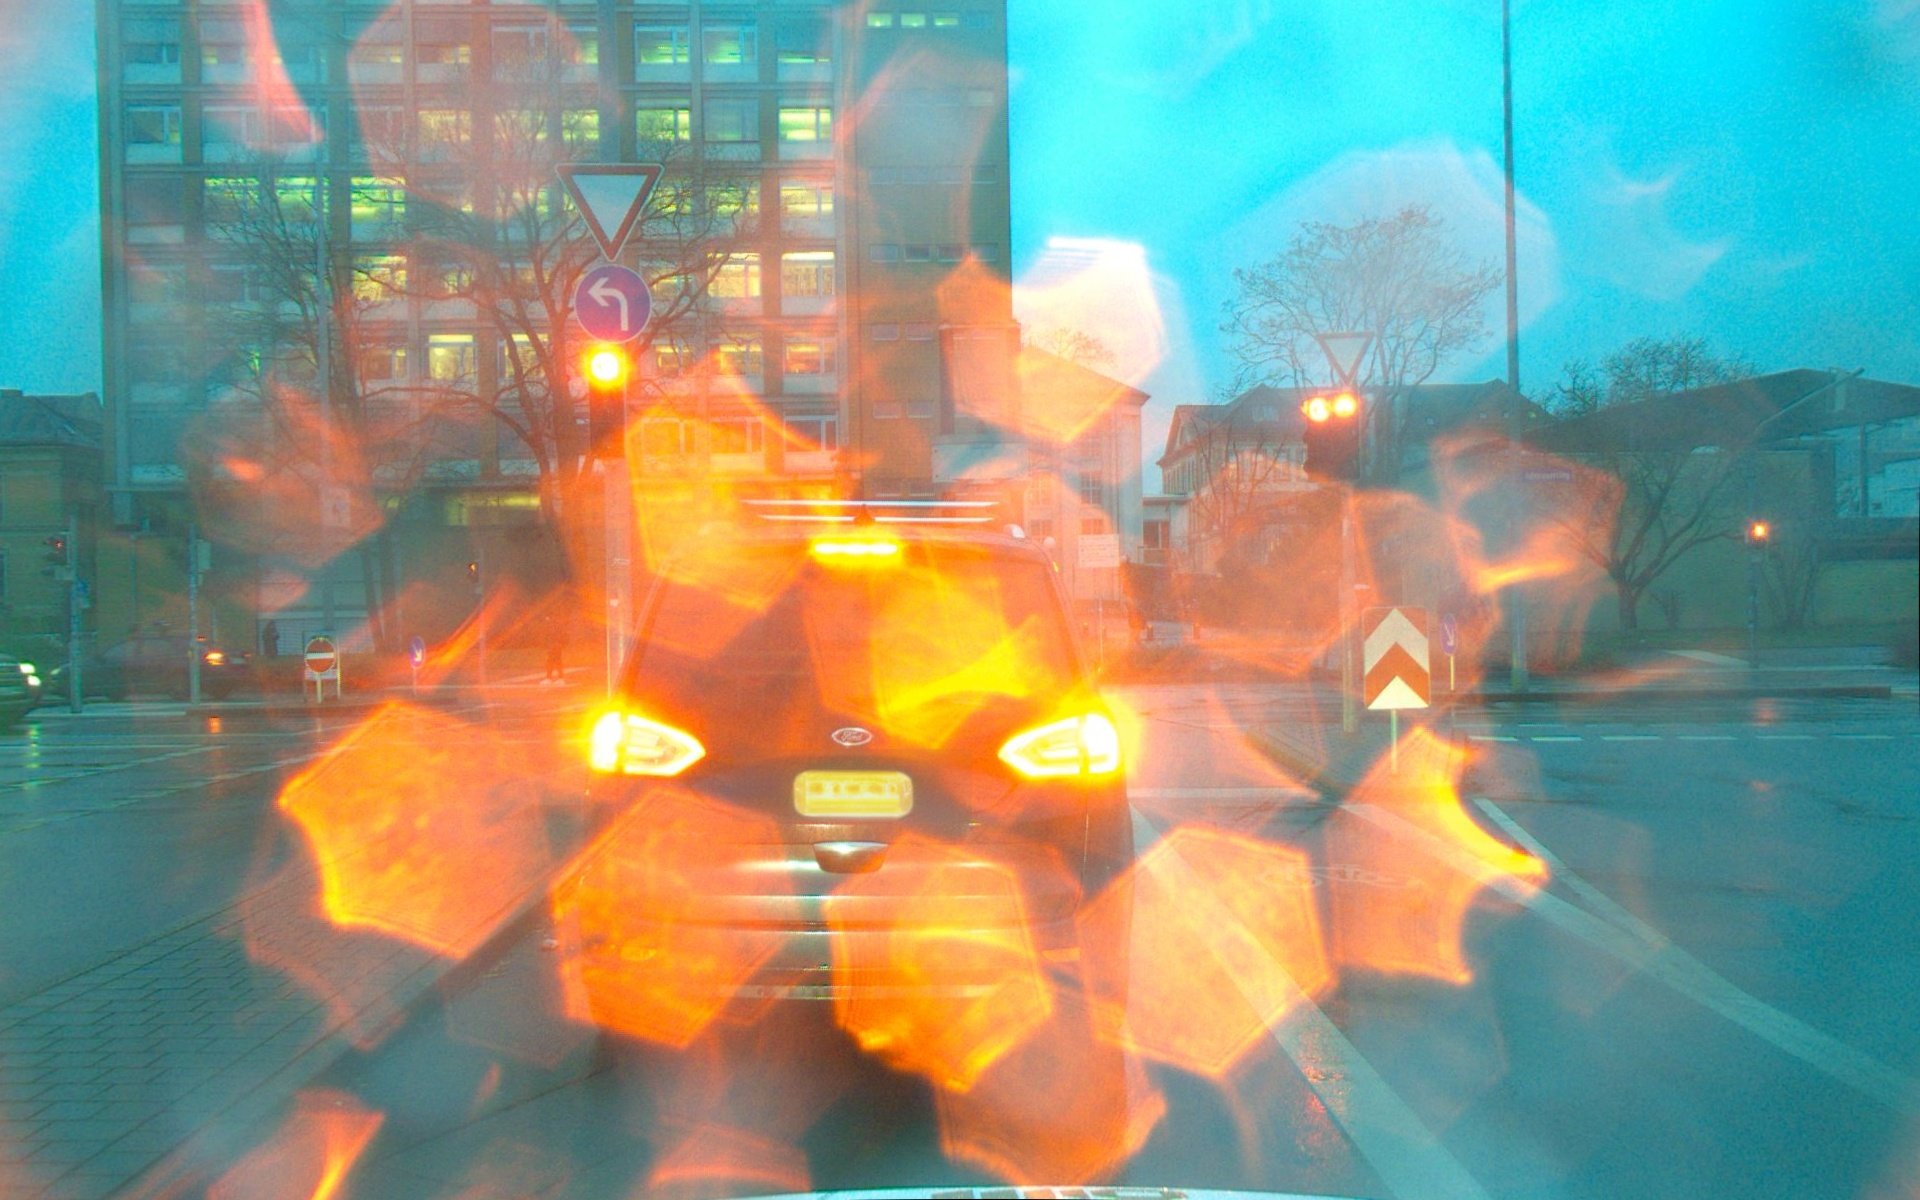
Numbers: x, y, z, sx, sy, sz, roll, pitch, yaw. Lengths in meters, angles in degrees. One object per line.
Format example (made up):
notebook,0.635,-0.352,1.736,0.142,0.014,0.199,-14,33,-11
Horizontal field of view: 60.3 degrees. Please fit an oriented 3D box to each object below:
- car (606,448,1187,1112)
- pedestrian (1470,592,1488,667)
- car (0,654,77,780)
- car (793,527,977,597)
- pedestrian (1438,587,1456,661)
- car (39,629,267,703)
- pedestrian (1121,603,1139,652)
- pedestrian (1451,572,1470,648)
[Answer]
car,-0.204,0.490,6.629,1.613,1.850,3.999,0,0,-1
pedestrian,13.151,0.749,41.931,0.428,1.871,0.460,0,-2,18
car,-15.062,1.632,23.709,3.978,1.713,1.761,0,-2,11
car,-2.256,-1.147,50.972,5.429,2.060,2.001,0,-2,5
pedestrian,12.403,0.622,42.120,0.428,1.871,0.460,0,-2,17
car,-18.287,1.478,37.567,4.338,1.608,1.969,0,-2,12
pedestrian,4.536,0.739,44.147,0.423,1.292,0.442,0,-2,11
pedestrian,12.482,0.254,41.244,0.448,1.871,0.439,0,-2,16
